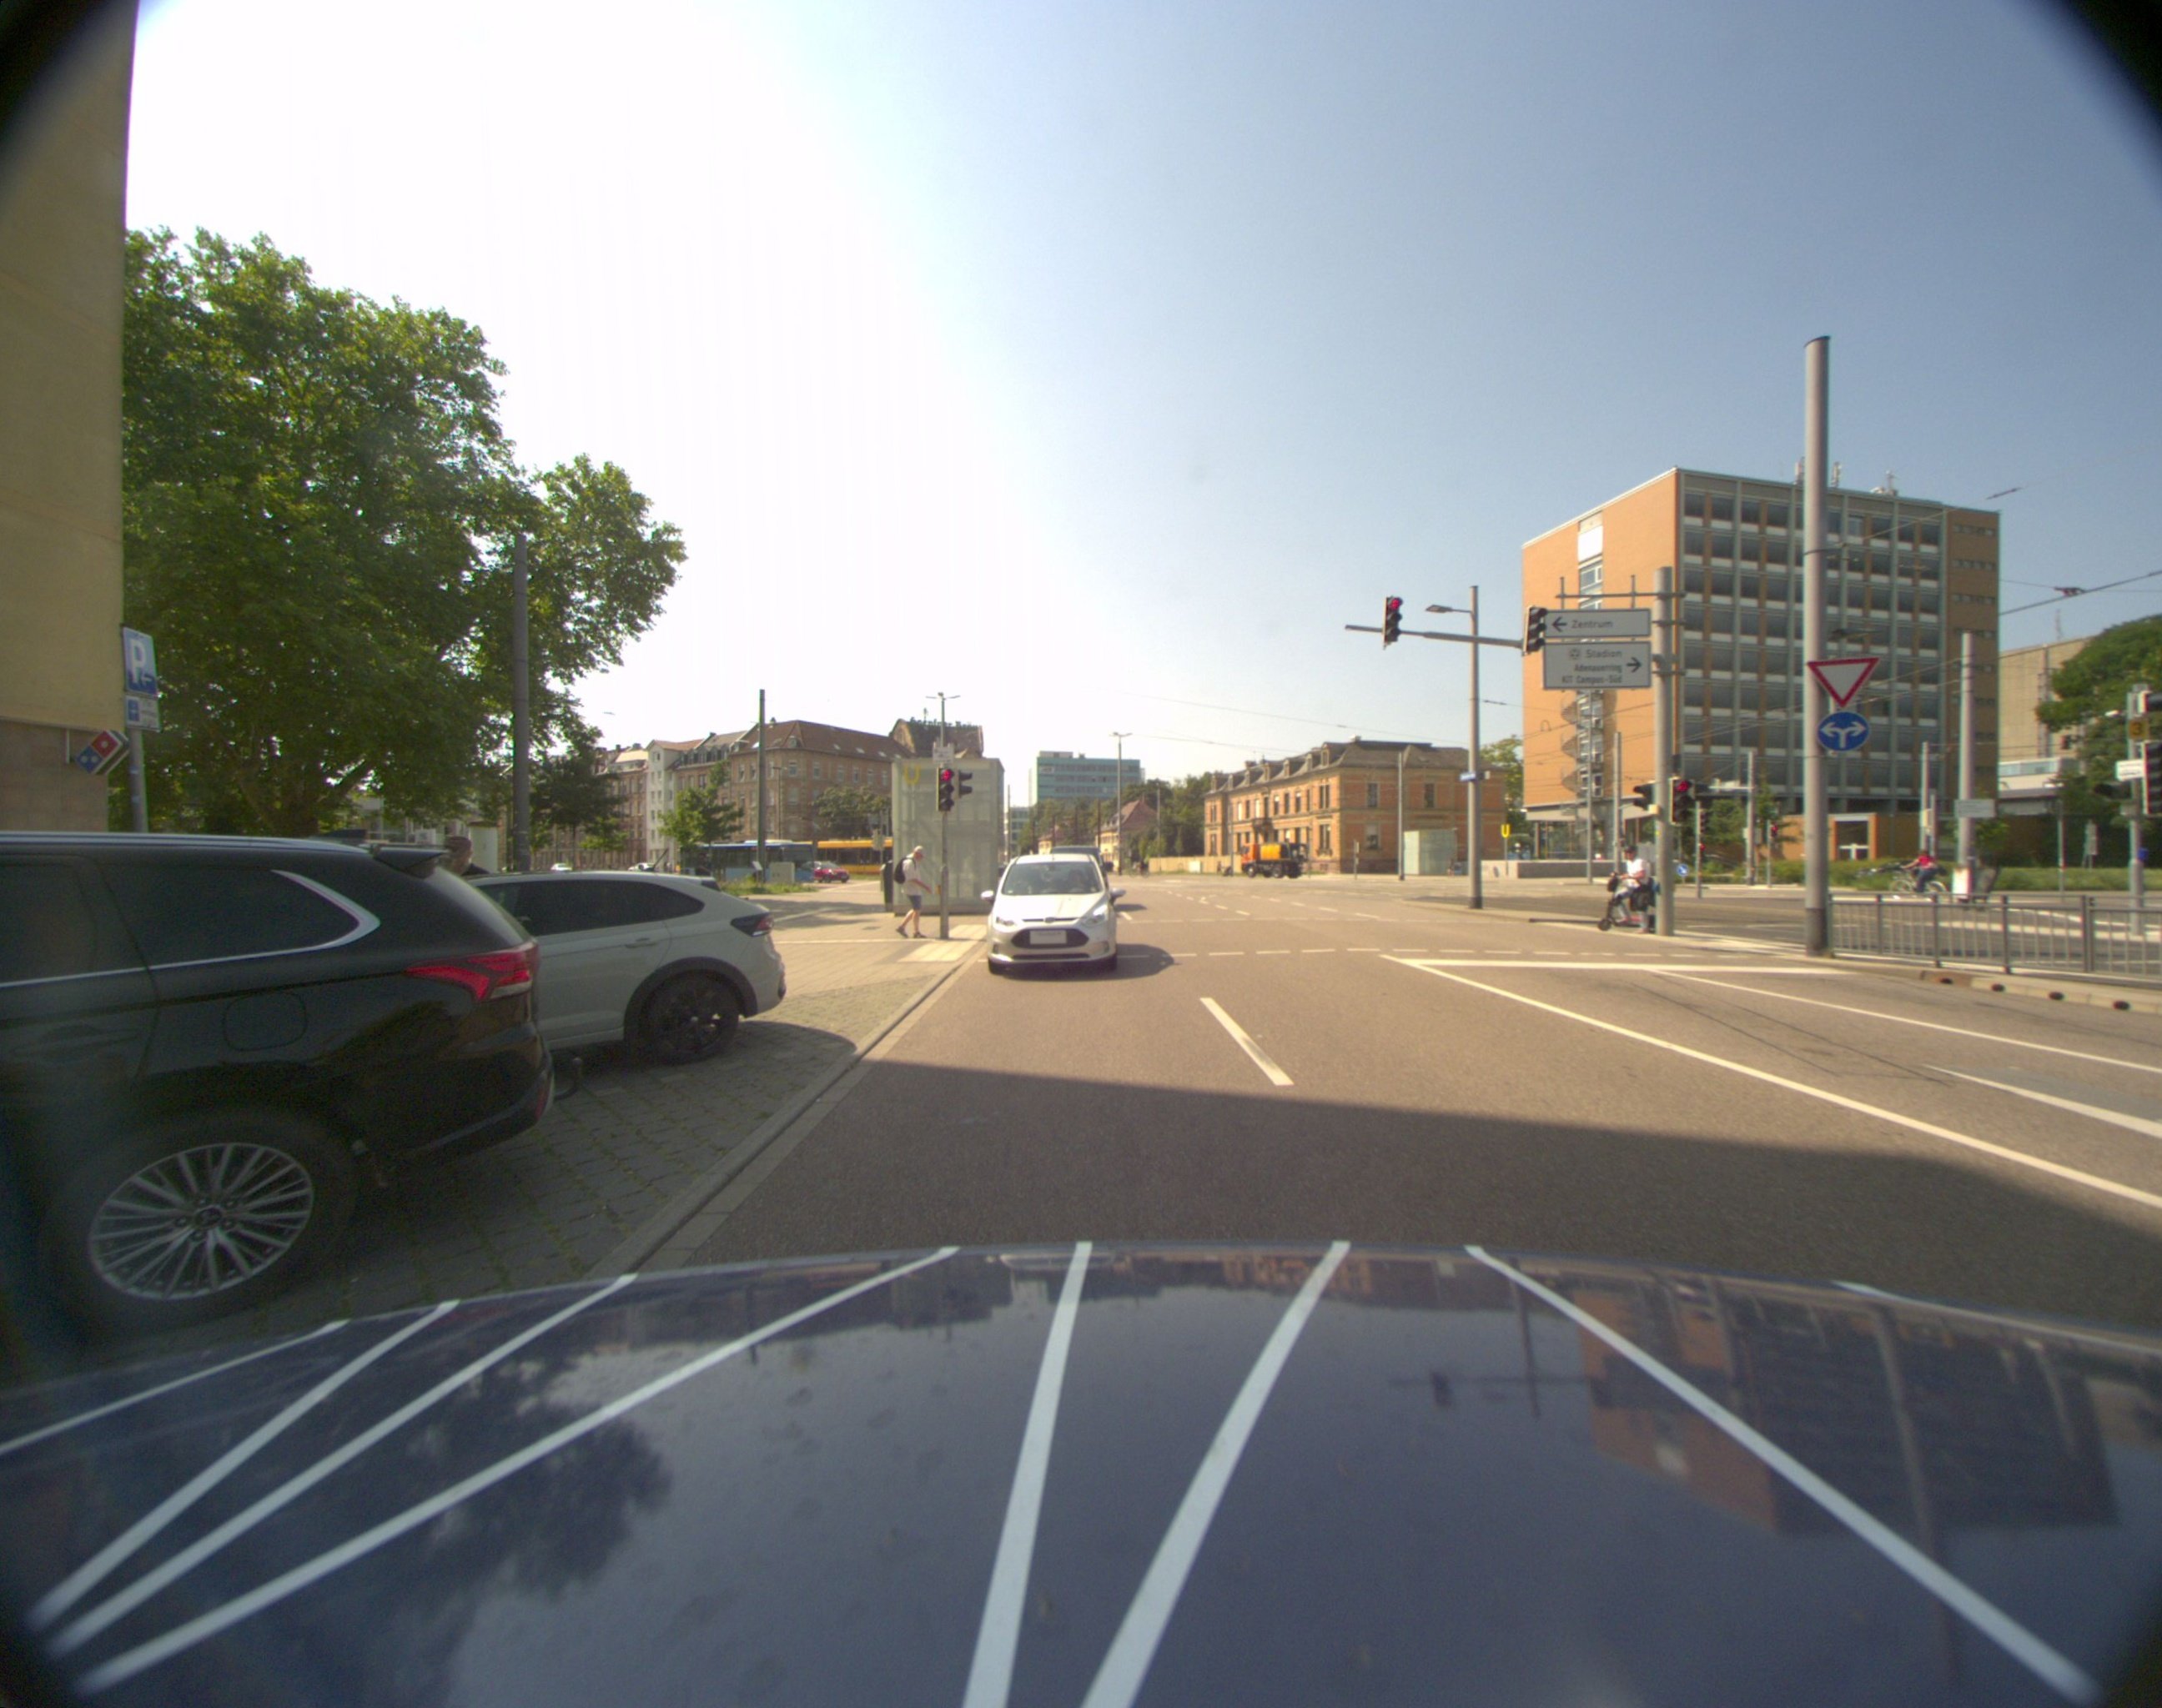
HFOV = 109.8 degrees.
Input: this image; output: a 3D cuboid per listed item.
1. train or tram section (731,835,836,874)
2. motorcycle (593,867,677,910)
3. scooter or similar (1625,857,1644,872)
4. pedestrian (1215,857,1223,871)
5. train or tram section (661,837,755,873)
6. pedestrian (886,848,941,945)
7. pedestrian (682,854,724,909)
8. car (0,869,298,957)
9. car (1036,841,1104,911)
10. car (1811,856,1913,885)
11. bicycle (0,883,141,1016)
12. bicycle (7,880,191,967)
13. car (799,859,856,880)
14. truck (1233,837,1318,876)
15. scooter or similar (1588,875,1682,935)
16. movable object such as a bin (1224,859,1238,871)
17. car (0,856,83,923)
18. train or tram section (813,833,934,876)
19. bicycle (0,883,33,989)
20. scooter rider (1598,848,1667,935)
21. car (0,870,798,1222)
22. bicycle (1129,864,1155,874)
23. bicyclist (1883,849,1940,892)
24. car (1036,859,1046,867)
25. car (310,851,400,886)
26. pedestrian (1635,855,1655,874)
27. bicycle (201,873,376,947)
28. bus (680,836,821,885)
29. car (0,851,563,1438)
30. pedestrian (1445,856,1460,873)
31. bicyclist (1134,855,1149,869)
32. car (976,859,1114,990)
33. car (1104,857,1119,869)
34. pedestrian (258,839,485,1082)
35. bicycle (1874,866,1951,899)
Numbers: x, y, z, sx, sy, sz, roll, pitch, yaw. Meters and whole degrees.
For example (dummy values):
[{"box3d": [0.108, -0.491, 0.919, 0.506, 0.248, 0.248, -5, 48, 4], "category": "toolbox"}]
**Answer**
[{"box3d": [-28.581, 0.075, 72.632, 12.182, 3.539, 2.601, 0, 0, 32], "category": "train or tram section"}, {"box3d": [-12.977, 0.977, 22.197, 0.911, 1.130, 2.114, 0, 0, 12], "category": "motorcycle"}, {"box3d": [44.708, 0.852, 61.344, 1.143, 1.150, 0.444, 0, 0, 14], "category": "scooter or similar"}, {"box3d": [13.568, 0.960, 74.703, 0.815, 1.343, 0.720, 0, 0, 7], "category": "pedestrian"}, {"box3d": [-38.934, 0.092, 79.041, 12.182, 3.539, 2.601, 0, 0, 32], "category": "train or tram section"}, {"box3d": [-3.202, 0.789, 14.573, 0.821, 1.797, 0.814, -2, 1, 0], "category": "pedestrian"}, {"box3d": [-11.282, 0.800, 22.691, 0.793, 1.600, 0.949, 0, 1, -3], "category": "pedestrian"}, {"box3d": [-19.035, 1.092, 15.418, 1.905, 1.461, 4.246, -2, 0, -2], "category": "car"}, {"box3d": [-0.267, 0.608, 23.536, 1.899, 1.919, 4.885, 0, 0, 1], "category": "car"}, {"box3d": [49.260, 1.079, 48.033, 3.991, 1.783, 2.003, -1, -2, 19], "category": "car"}, {"box3d": [-12.721, 1.053, 8.035, 3.370, 1.396, 0.901, 0, 0, -36], "category": "bicycle"}, {"box3d": [-14.399, 0.999, 11.178, 1.727, 1.199, 0.589, 0, 0, -7], "category": "bicycle"}, {"box3d": [-18.410, 1.139, 55.248, 3.763, 1.463, 1.632, 0, 0, 21], "category": "car"}, {"box3d": [16.898, 0.297, 66.634, 3.047, 3.209, 7.176, 1, -2, -30], "category": "truck"}, {"box3d": [10.876, 0.990, 14.945, 1.341, 1.142, 0.709, 0, 0, -2], "category": "scooter or similar"}, {"box3d": [14.601, 1.081, 74.134, 1.035, 1.078, 0.822, -2, -2, 41], "category": "movable object such as a bin"}, {"box3d": [-24.799, 0.787, 16.049, 1.905, 1.462, 4.245, 0, 0, -3], "category": "car"}, {"box3d": [-18.235, 0.058, 66.222, 12.182, 3.539, 2.601, 0, 0, 32], "category": "train or tram section"}, {"box3d": [-13.093, 0.971, 8.242, 0.730, 1.239, 1.960, 0, 0, -1], "category": "bicycle"}, {"box3d": [10.835, 0.723, 14.958, 0.773, 1.663, 0.779, 0, 0, -4], "category": "scooter rider"}, {"box3d": [-4.295, 0.956, 5.453, 3.792, 1.491, 1.802, -2, 0, -41], "category": "car"}, {"box3d": [5.269, 1.281, 66.089, 2.165, 0.893, 0.642, 0, 0, 22], "category": "bicycle"}, {"box3d": [28.432, 0.555, 26.025, 0.877, 1.451, 0.980, 0, 1, 3], "category": "bicyclist"}, {"box3d": [-10.262, 2.293, 193.749, 2.000, 1.892, 3.998, 0, -2, -9], "category": "car"}, {"box3d": [-54.982, 1.131, 57.686, 1.847, 2.568, 5.218, 0, -2, 0], "category": "car"}, {"box3d": [42.165, 0.783, 56.807, 0.847, 1.386, 0.787, 0, 0, 2], "category": "pedestrian"}, {"box3d": [-14.968, 1.006, 14.491, 0.794, 1.231, 2.434, 0, 0, 0], "category": "bicycle"}, {"box3d": [-22.838, 0.441, 52.015, 12.048, 3.046, 2.740, 0, 0, 33], "category": "bus"}, {"box3d": [-4.392, 0.835, 2.323, 4.401, 1.677, 1.981, 0, 0, -42], "category": "car"}, {"box3d": [31.183, 0.889, 63.808, 0.847, 1.386, 0.787, 0, 0, 2], "category": "pedestrian"}, {"box3d": [5.296, 0.693, 66.100, 1.103, 1.258, 0.858, 0, 0, 21], "category": "bicyclist"}, {"box3d": [-0.427, 0.885, 11.544, 1.692, 1.585, 4.361, 0, 0, 0], "category": "car"}, {"box3d": [5.165, 1.588, 129.510, 2.000, 2.001, 3.999, 0, -2, -6], "category": "car"}, {"box3d": [-5.493, 0.750, 5.987, 1.039, 1.694, 0.902, -2, 1, -27], "category": "pedestrian"}, {"box3d": [28.438, 0.964, 26.038, 0.614, 1.063, 1.913, 0, 0, 3], "category": "bicycle"}]
